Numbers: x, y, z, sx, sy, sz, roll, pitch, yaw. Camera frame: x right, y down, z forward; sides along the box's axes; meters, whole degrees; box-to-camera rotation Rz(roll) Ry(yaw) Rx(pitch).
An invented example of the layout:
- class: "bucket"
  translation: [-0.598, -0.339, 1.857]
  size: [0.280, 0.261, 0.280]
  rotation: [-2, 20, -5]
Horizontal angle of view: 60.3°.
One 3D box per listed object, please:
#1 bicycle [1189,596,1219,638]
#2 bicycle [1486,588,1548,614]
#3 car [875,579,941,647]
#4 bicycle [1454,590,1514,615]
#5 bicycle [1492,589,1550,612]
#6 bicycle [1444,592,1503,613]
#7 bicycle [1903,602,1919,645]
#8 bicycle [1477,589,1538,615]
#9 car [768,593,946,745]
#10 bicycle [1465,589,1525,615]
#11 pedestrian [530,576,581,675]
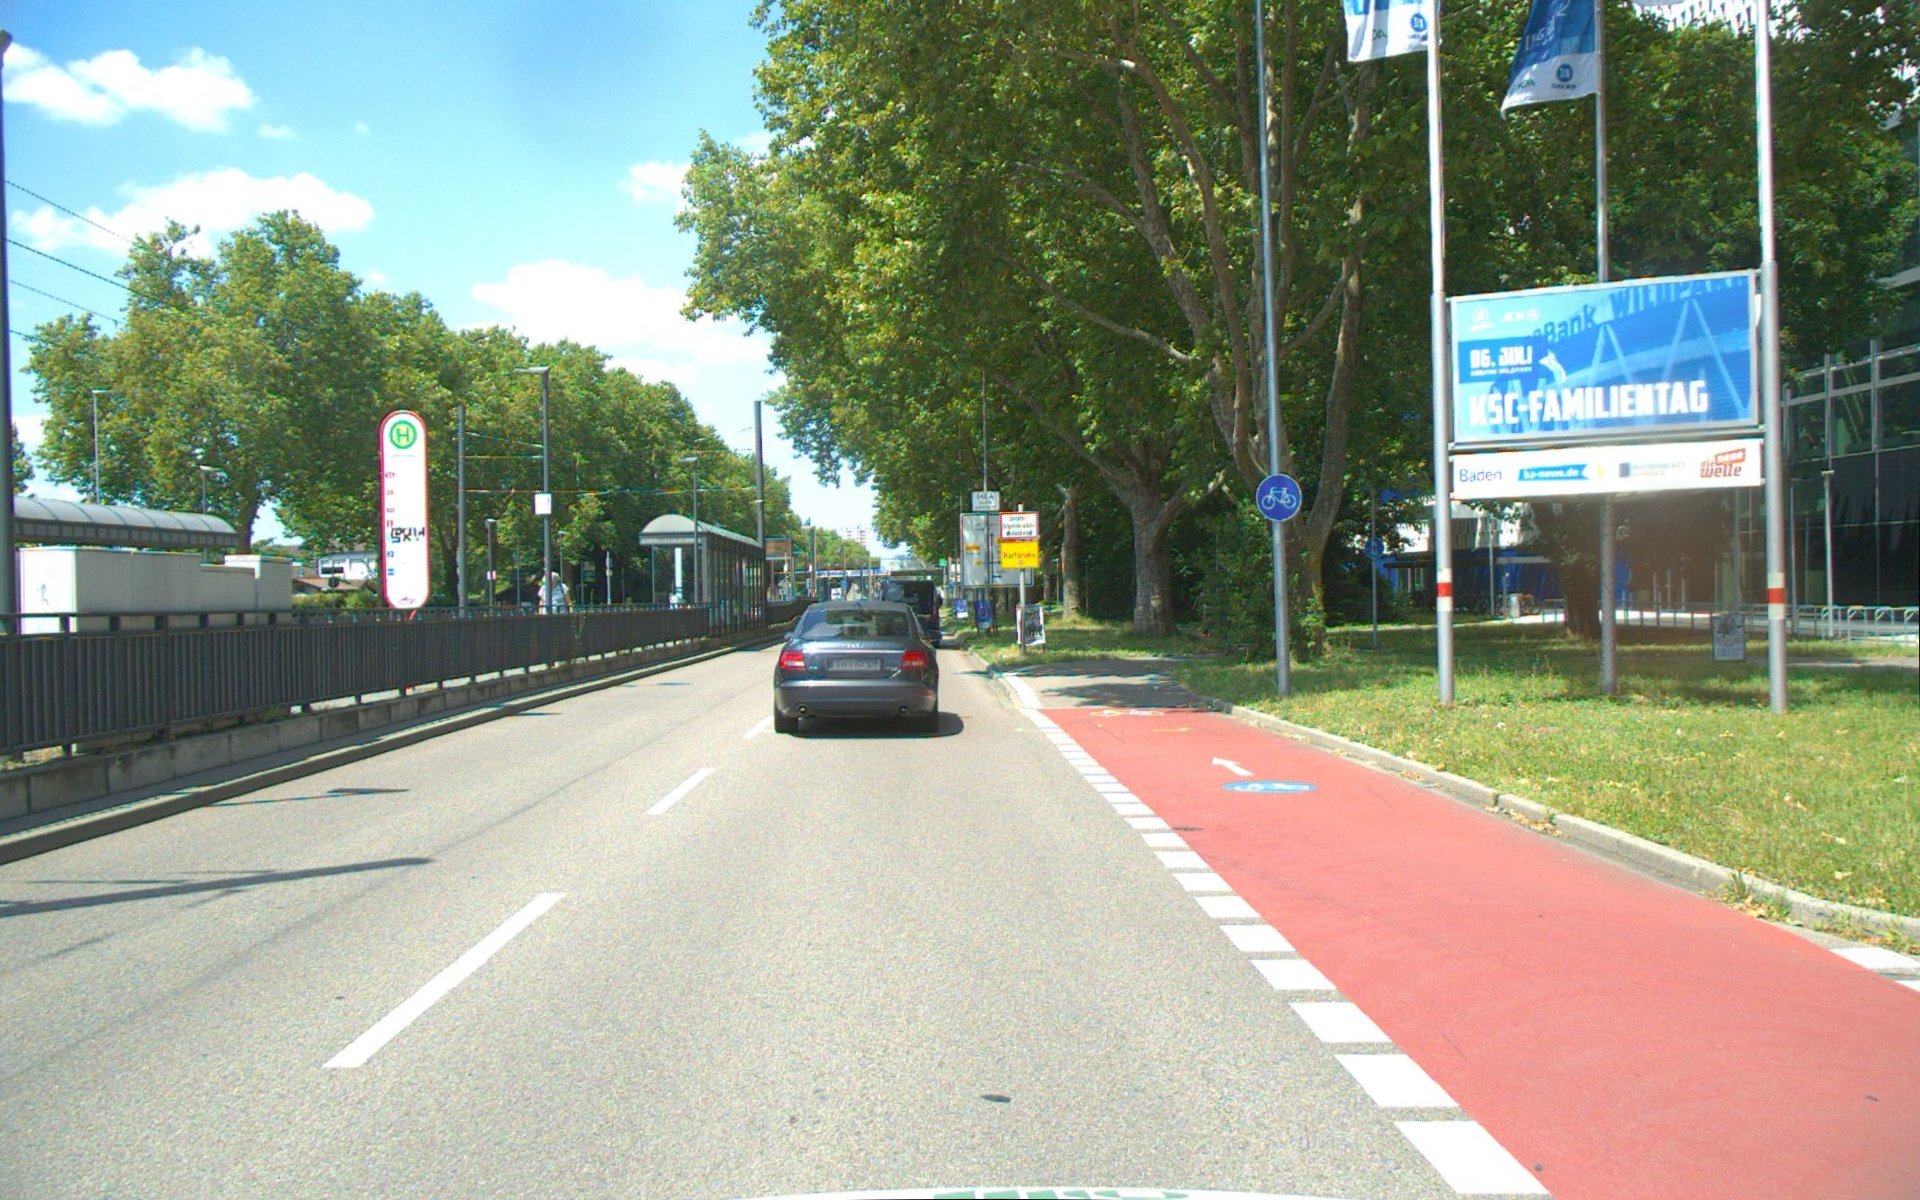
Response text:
- class: "bicycle"
  translation: [8.881, 0.607, 60.299]
  size: [0.598, 1.444, 2.661]
  rotation: [-2, 0, -2]
- class: "bicycle"
  translation: [24.267, 0.048, 72.085]
  size: [2.496, 1.130, 0.758]
  rotation: [0, 0, -6]
- class: "car"
  translation: [-1.556, 0.390, 50.783]
  size: [1.810, 1.994, 4.144]
  rotation: [0, 0, 1]
- class: "bicycle"
  translation: [23.882, 0.093, 75.398]
  size: [2.496, 1.130, 0.758]
  rotation: [0, 0, -6]
- class: "bicycle"
  translation: [24.067, 0.036, 70.963]
  size: [2.271, 0.977, 0.758]
  rotation: [0, 0, -6]
- class: "bicycle"
  translation: [23.795, 0.103, 76.666]
  size: [2.496, 0.987, 0.758]
  rotation: [0, 0, -6]
- class: "bicycle"
  translation: [22.842, 0.529, 37.904]
  size: [2.020, 0.986, 0.868]
  rotation: [-1, 0, -5]
- class: "bicycle"
  translation: [24.173, 0.096, 73.032]
  size: [2.496, 1.130, 0.758]
  rotation: [0, 0, -6]
- class: "car"
  translation: [-1.093, 0.694, 18.881]
  size: [1.805, 1.510, 3.999]
  rotation: [0, 0, -1]
- class: "bicycle"
  translation: [23.972, 0.083, 74.109]
  size: [2.496, 1.130, 0.758]
  rotation: [0, 0, -6]
- class: "pedestrian"
  translation: [-6.965, 0.432, 28.492]
  size: [0.718, 1.694, 0.742]
  rotation: [0, 0, -2]
